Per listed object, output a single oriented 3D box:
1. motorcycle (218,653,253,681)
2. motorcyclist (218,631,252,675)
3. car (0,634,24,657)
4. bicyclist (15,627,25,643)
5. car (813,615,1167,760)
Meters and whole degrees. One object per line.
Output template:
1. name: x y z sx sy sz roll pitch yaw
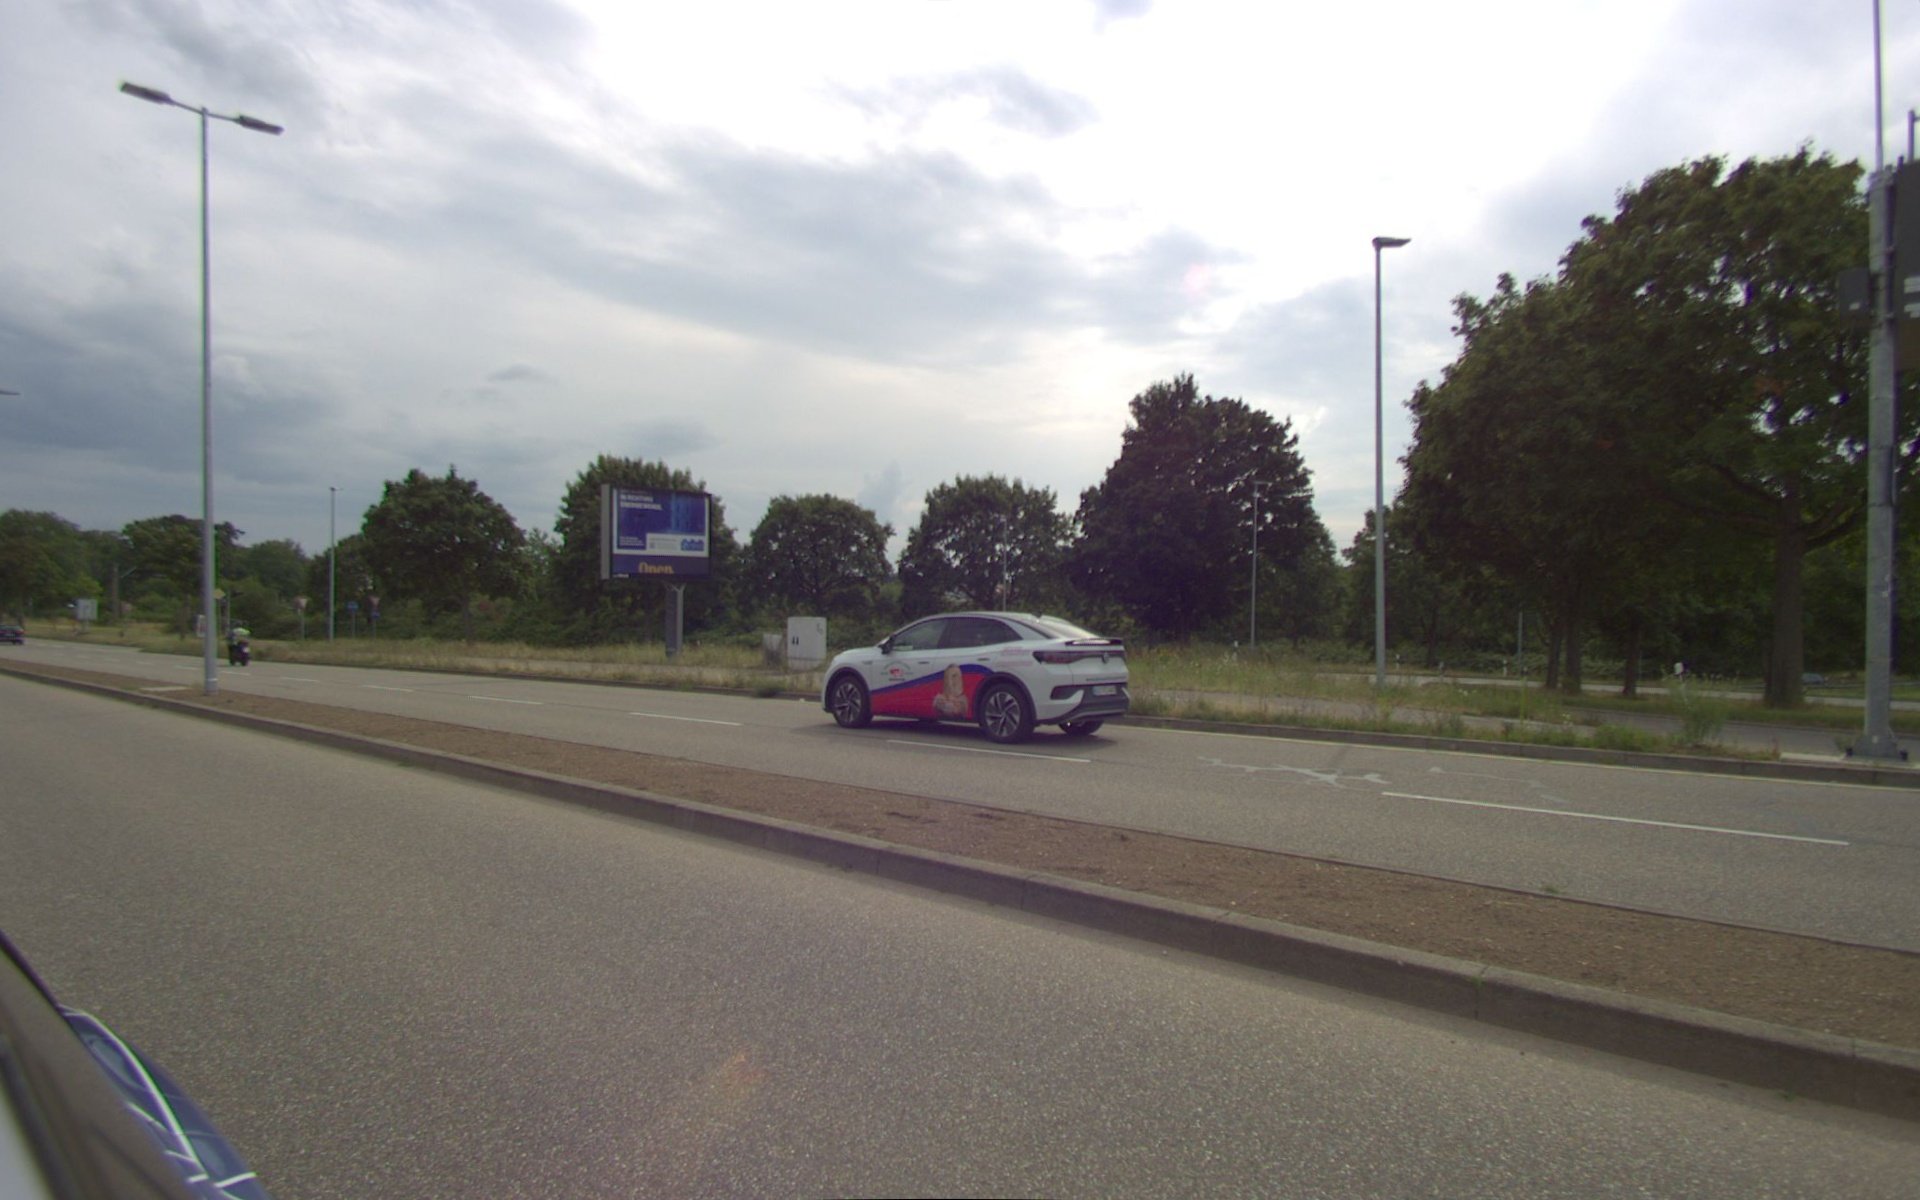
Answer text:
1. motorcycle: -26.369 2.418 36.821 2.218 0.974 0.517 -2 -2 40
2. motorcyclist: -26.398 1.917 36.847 0.895 1.600 0.762 -2 -3 40
3. car: -66.685 3.157 70.294 4.735 1.544 1.751 -1 -2 39
4. bicyclist: -107.428 3.958 115.649 0.818 1.846 0.637 -1 -2 39
5. car: 0.256 1.071 13.430 4.558 1.613 1.828 -3 -3 41
